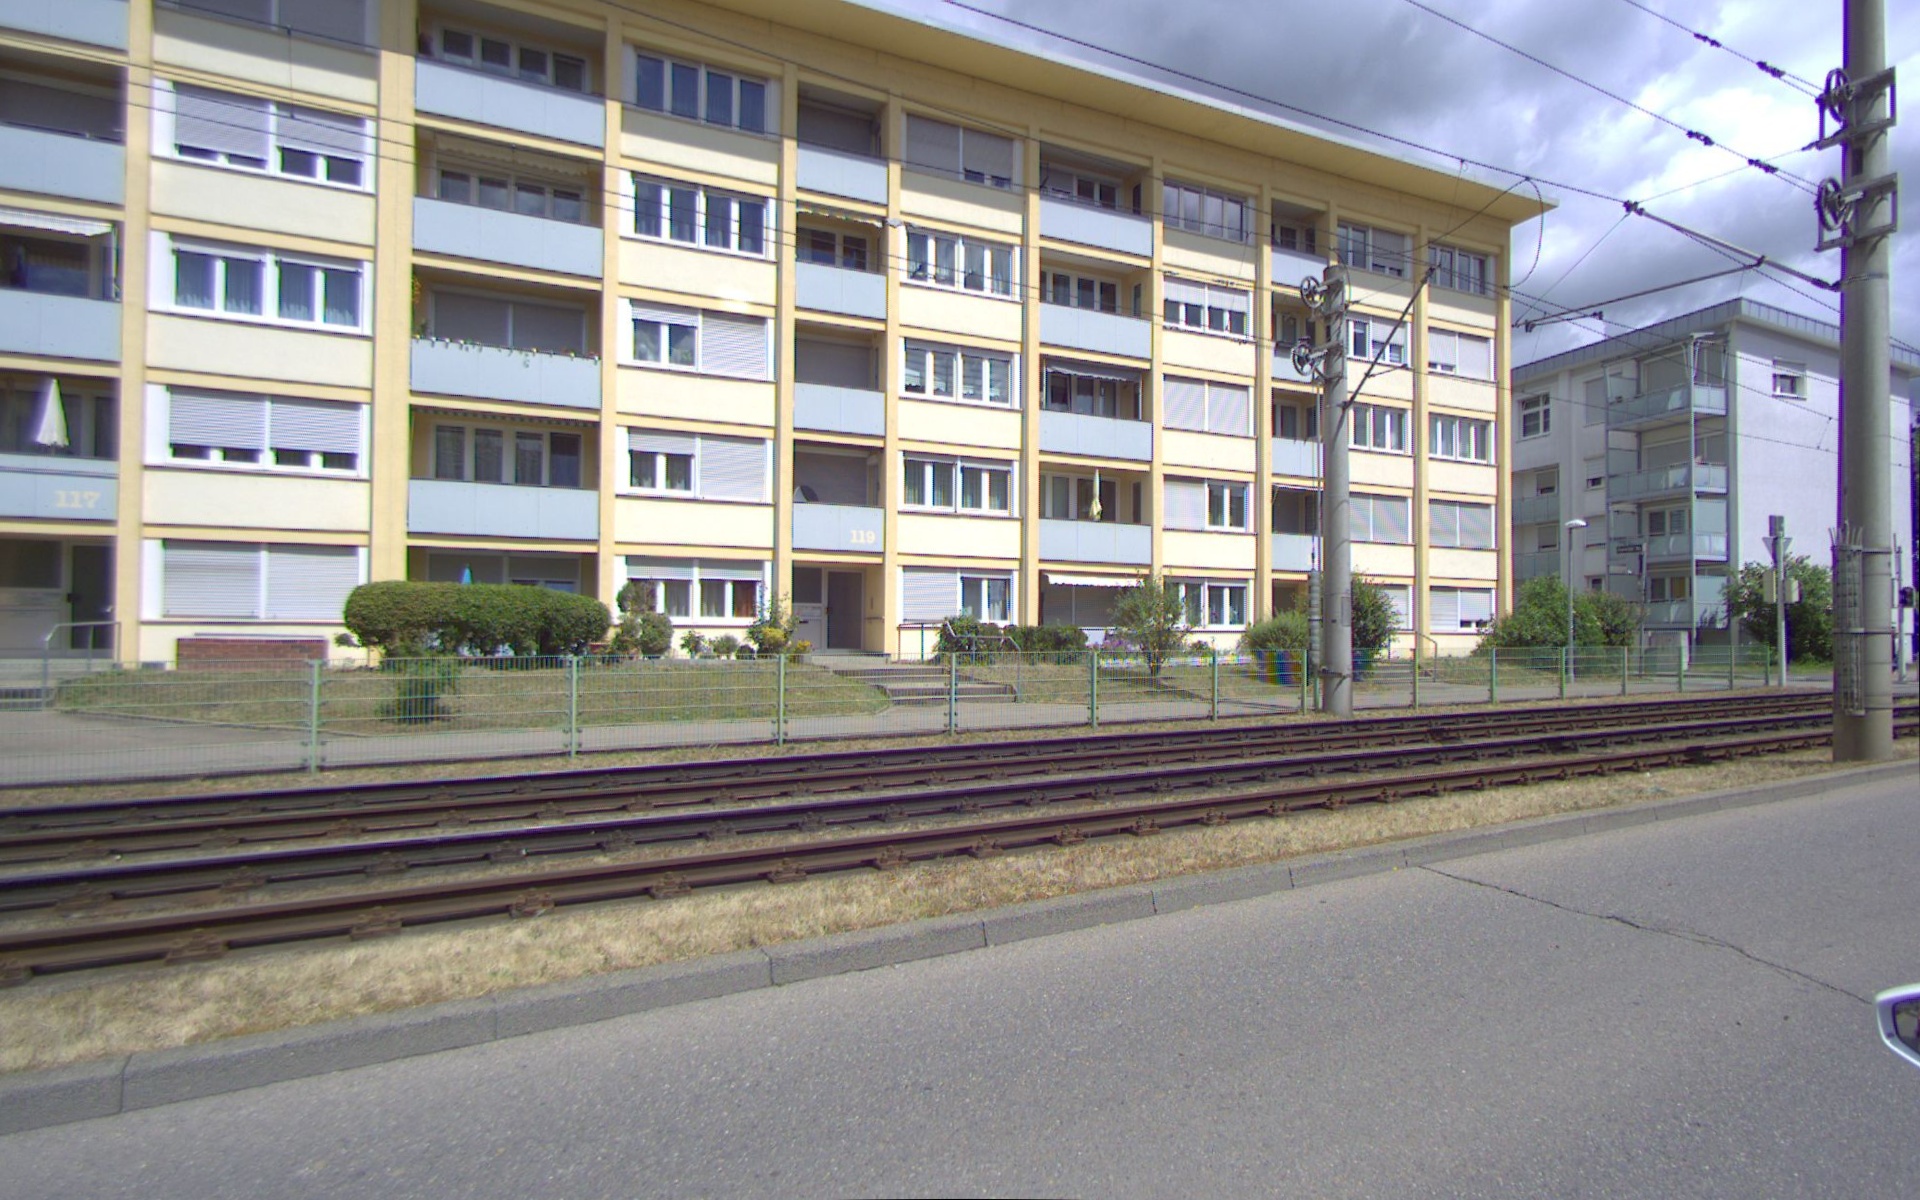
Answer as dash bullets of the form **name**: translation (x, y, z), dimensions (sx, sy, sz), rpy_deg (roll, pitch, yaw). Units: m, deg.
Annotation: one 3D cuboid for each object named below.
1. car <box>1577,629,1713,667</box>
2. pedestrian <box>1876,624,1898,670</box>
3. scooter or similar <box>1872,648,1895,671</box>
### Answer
- **car**: translation (26.346, 1.828, 38.783), dimensions (1.873, 1.363, 3.980), rpy_deg (1, -2, -21)
- **pedestrian**: translation (32.531, 1.651, 35.251), dimensions (0.468, 1.601, 0.436), rpy_deg (1, -1, -25)
- **scooter or similar**: translation (32.130, 2.063, 34.948), dimensions (0.468, 0.757, 0.436), rpy_deg (1, -1, -25)
